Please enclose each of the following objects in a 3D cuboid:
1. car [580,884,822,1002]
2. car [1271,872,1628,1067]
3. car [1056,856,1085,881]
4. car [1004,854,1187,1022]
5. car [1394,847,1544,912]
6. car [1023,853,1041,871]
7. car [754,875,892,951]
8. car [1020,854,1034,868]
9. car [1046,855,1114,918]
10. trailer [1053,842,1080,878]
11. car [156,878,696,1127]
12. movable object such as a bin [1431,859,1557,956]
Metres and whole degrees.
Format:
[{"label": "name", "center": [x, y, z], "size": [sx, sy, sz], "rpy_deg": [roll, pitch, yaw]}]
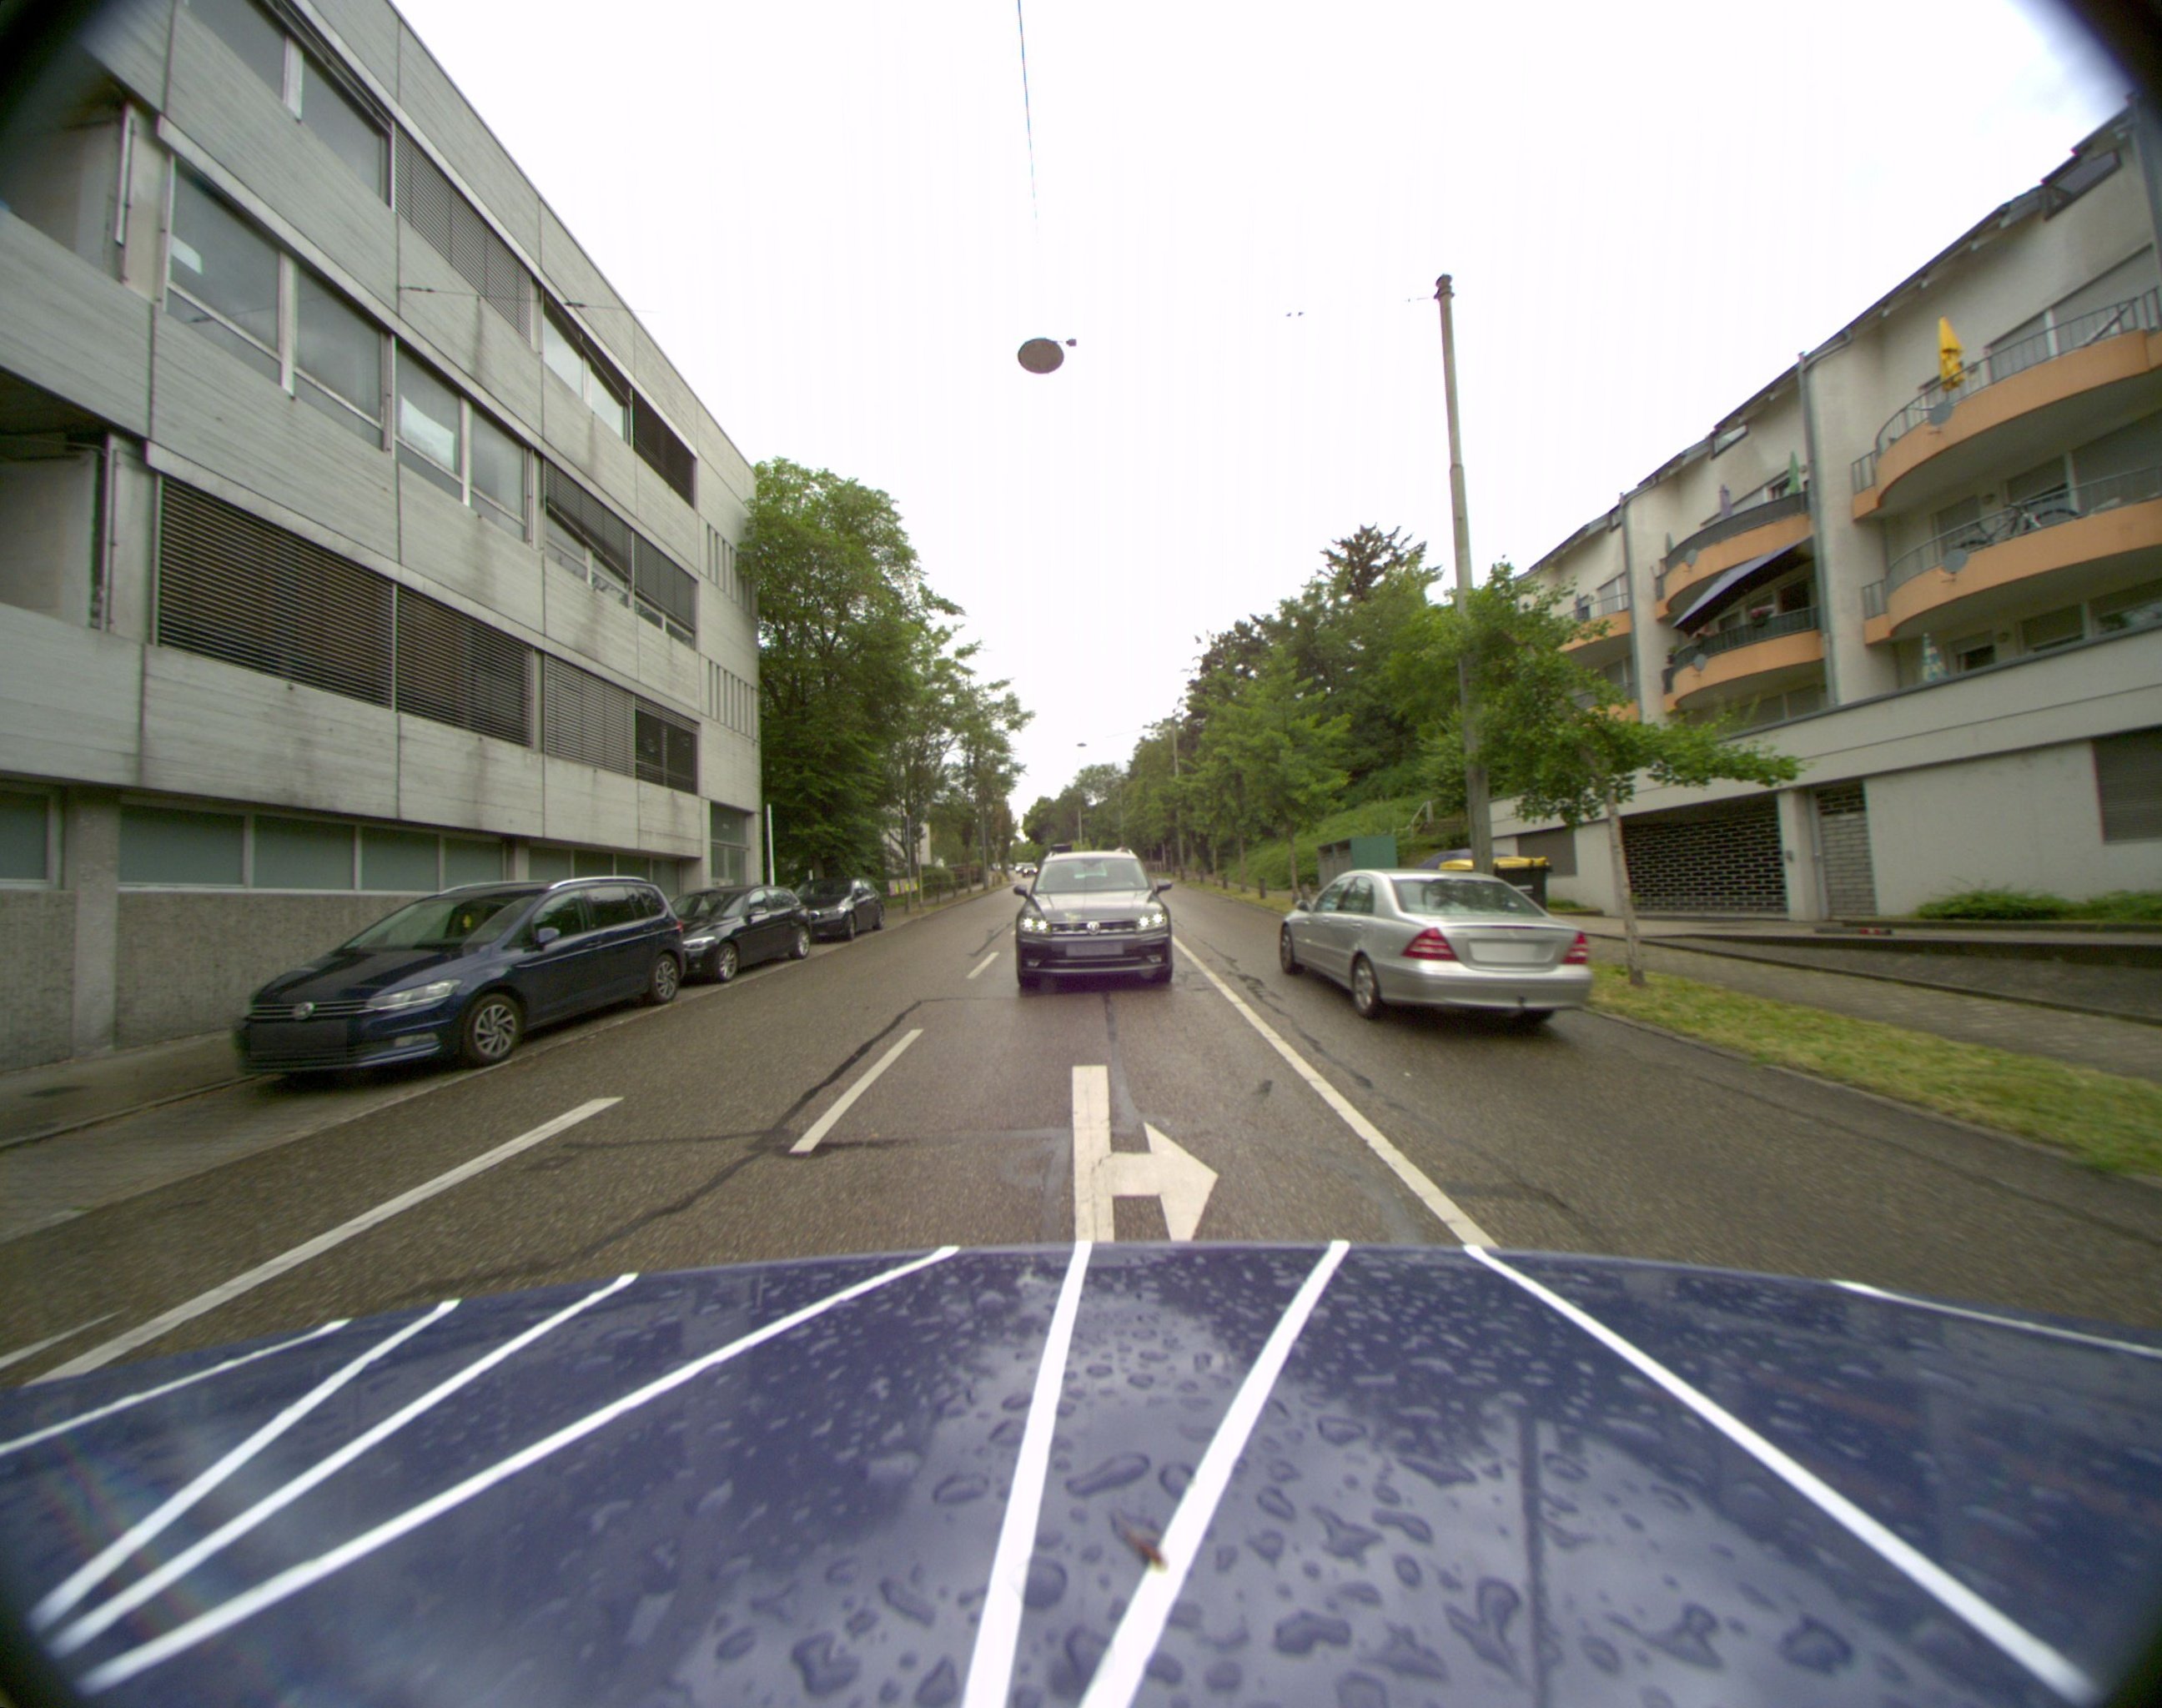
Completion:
[{"label": "car", "center": [-6.038, 1.334, 12.701], "size": [1.710, 1.436, 4.098], "rpy_deg": [-2, 0, 4]}, {"label": "car", "center": [3.393, 0.946, 8.040], "size": [1.723, 1.376, 4.285], "rpy_deg": [2, 0, 1]}, {"label": "car", "center": [-0.795, 0.980, 53.807], "size": [1.737, 1.610, 3.473], "rpy_deg": [-2, 1, -5]}, {"label": "car", "center": [0.182, 0.856, 9.813], "size": [1.786, 1.631, 4.200], "rpy_deg": [-2, 0, 1]}, {"label": "car", "center": [9.917, 0.606, 19.810], "size": [1.856, 1.483, 3.865], "rpy_deg": [2, 0, -1]}, {"label": "car", "center": [-6.046, 0.979, 93.884], "size": [1.999, 2.002, 3.999], "rpy_deg": [-2, 1, -2]}, {"label": "car", "center": [-6.017, 1.308, 18.275], "size": [1.843, 1.436, 4.155], "rpy_deg": [-2, 0, 0]}, {"label": "car", "center": [-8.429, 1.093, 118.526], "size": [1.999, 2.002, 3.999], "rpy_deg": [-2, 1, -1]}, {"label": "car", "center": [0.010, 0.893, 22.957], "size": [1.786, 1.631, 4.200], "rpy_deg": [-2, 0, 1]}, {"label": "trailer", "center": [-1.102, 0.426, 57.042], "size": [1.771, 2.610, 3.031], "rpy_deg": [-2, 1, -5]}, {"label": "car", "center": [-6.025, 1.189, 7.890], "size": [1.749, 1.665, 4.344], "rpy_deg": [-2, 0, 0]}, {"label": "movable object such as a bin", "center": [6.235, 0.772, 11.545], "size": [1.226, 1.342, 1.122], "rpy_deg": [-2, 0, -7]}]
